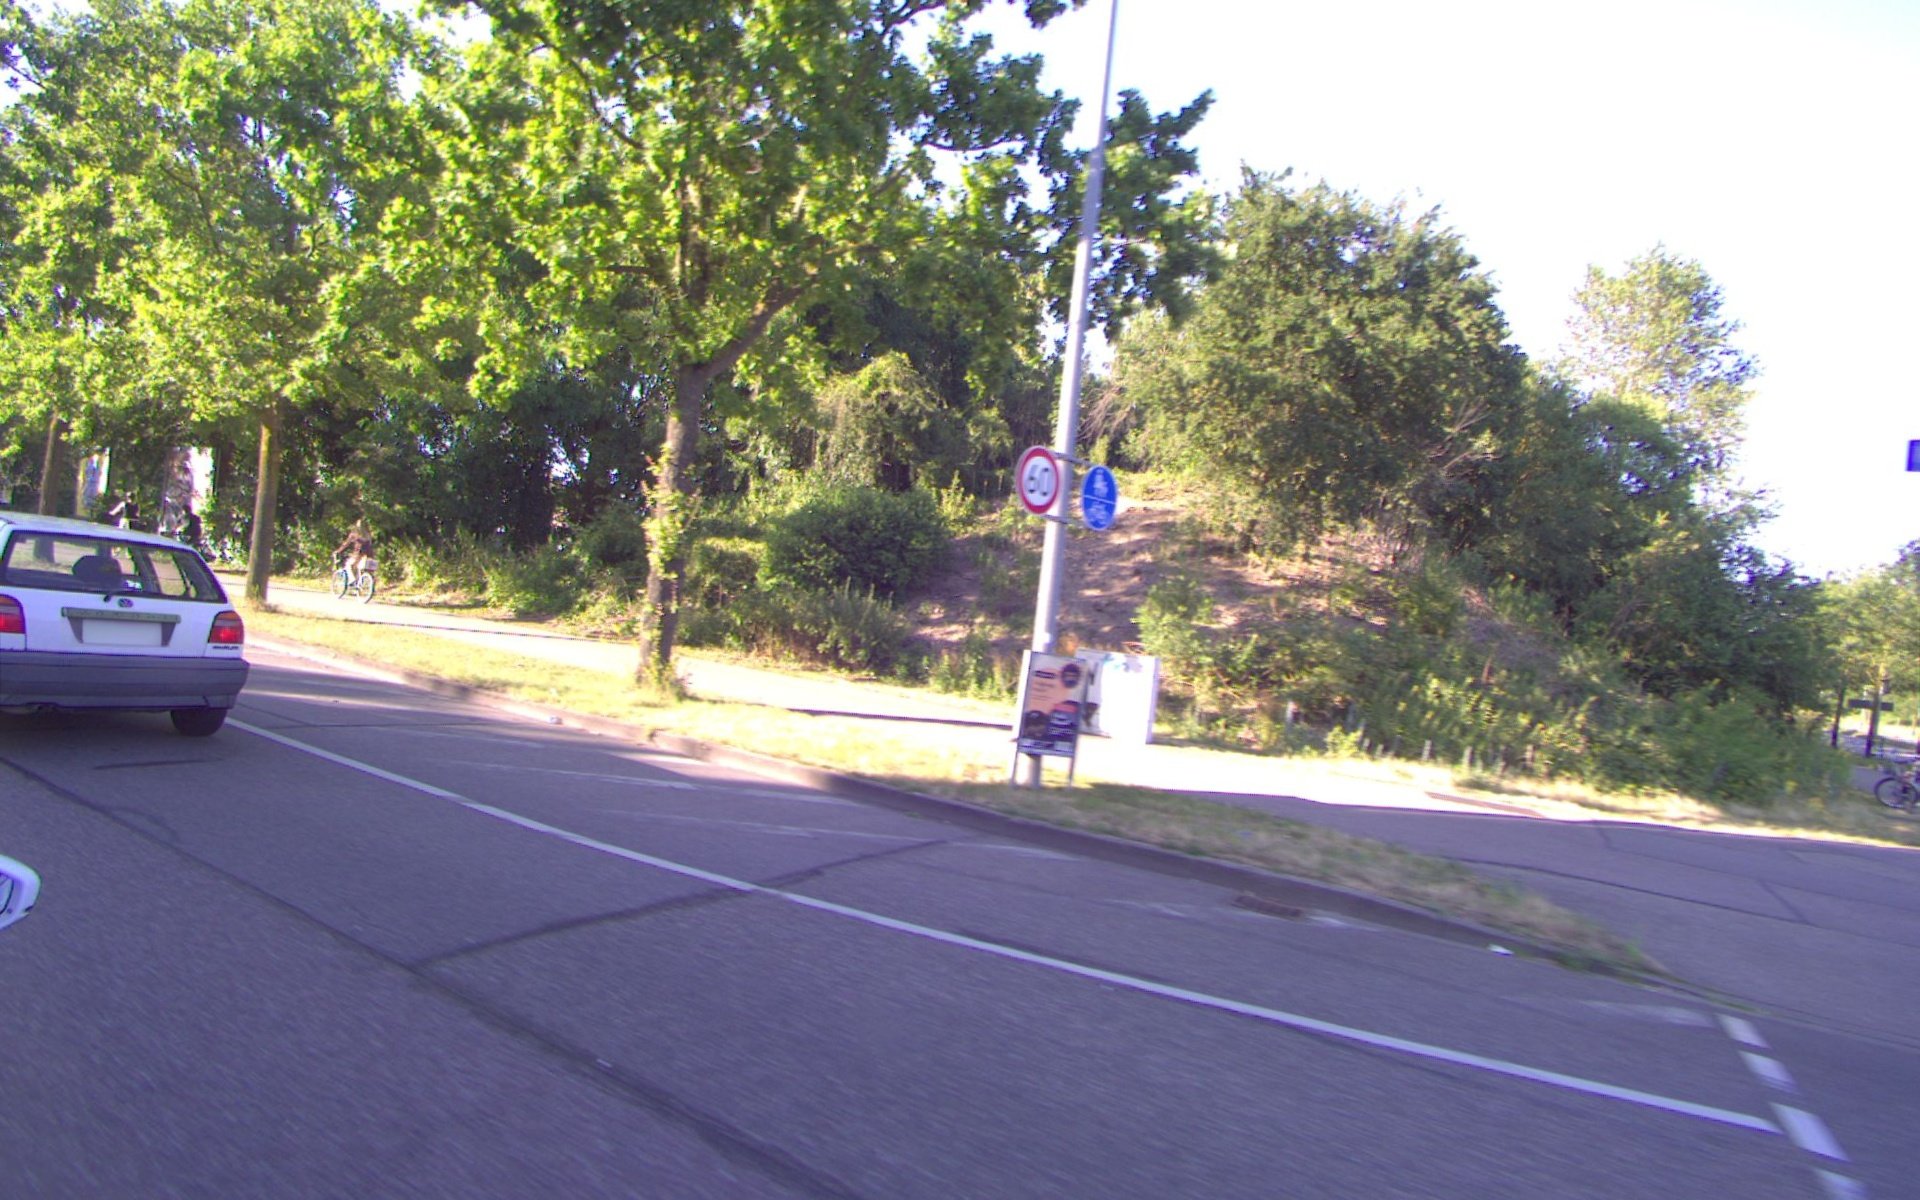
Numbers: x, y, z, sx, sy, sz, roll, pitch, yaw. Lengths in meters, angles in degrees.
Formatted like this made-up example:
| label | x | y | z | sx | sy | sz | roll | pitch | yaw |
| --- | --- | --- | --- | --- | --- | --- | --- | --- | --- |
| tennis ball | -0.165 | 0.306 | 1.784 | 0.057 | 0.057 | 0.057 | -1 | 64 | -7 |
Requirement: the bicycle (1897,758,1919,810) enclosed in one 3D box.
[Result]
| label | x | y | z | sx | sy | sz | roll | pitch | yaw |
| --- | --- | --- | --- | --- | --- | --- | --- | --- | --- |
| bicycle | 19.762 | 3.795 | 20.649 | 1.788 | 0.992 | 0.631 | 9 | -1 | -45 |

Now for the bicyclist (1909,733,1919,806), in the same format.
| label | x | y | z | sx | sy | sz | roll | pitch | yaw |
| --- | --- | --- | --- | --- | --- | --- | --- | --- | --- |
| bicyclist | 21.792 | 3.809 | 22.331 | 0.780 | 1.613 | 0.859 | 6 | -2 | 31 |

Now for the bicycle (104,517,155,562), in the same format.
| label | x | y | z | sx | sy | sz | roll | pitch | yaw |
| --- | --- | --- | --- | --- | --- | --- | --- | --- | --- |
| bicycle | -23.943 | -1.750 | 29.002 | 1.595 | 1.125 | 0.565 | 5 | -2 | 32 |

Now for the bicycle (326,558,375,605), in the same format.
| label | x | y | z | sx | sy | sz | roll | pitch | yaw |
| --- | --- | --- | --- | --- | --- | --- | --- | --- | --- |
| bicycle | -13.194 | -0.399 | 21.775 | 1.010 | 0.926 | 0.437 | 5 | 1 | 32 |

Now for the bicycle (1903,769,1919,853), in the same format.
| label | x | y | z | sx | sy | sz | roll | pitch | yaw |
| --- | --- | --- | --- | --- | --- | --- | --- | --- | --- |
| bicycle | 12.593 | 2.712 | 12.843 | 1.656 | 1.004 | 0.571 | 7 | 3 | -42 |

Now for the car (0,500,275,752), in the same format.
| label | x | y | z | sx | sy | sz | roll | pitch | yaw |
| --- | --- | --- | --- | --- | --- | --- | --- | --- | --- |
| car | -6.895 | 0.055 | 7.255 | 3.994 | 1.429 | 1.582 | 5 | -2 | 31 |

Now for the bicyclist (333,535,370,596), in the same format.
| label | x | y | z | sx | sy | sz | roll | pitch | yaw |
| --- | --- | --- | --- | --- | --- | --- | --- | --- | --- |
| bicyclist | -13.166 | -0.743 | 21.780 | 0.452 | 1.248 | 0.428 | 6 | 0 | 32 |

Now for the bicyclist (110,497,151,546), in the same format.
| label | x | y | z | sx | sy | sz | roll | pitch | yaw |
| --- | --- | --- | --- | --- | --- | --- | --- | --- | --- |
| bicyclist | -23.935 | -2.265 | 29.026 | 0.821 | 1.331 | 0.544 | 6 | -2 | 31 |

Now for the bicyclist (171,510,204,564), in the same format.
| label | x | y | z | sx | sy | sz | roll | pitch | yaw |
| --- | --- | --- | --- | --- | --- | --- | --- | --- | --- |
| bicyclist | -20.306 | -1.655 | 26.436 | 0.452 | 1.324 | 0.428 | 6 | -2 | 32 |

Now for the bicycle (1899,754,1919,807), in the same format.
| label | x | y | z | sx | sy | sz | roll | pitch | yaw |
| --- | --- | --- | --- | --- | --- | --- | --- | --- | --- |
| bicycle | 21.796 | 4.087 | 22.400 | 0.808 | 1.125 | 2.017 | 6 | -3 | 31 |

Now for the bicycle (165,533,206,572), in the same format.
| label | x | y | z | sx | sy | sz | roll | pitch | yaw |
| --- | --- | --- | --- | --- | --- | --- | --- | --- | --- |
| bicycle | -20.337 | -1.248 | 26.409 | 1.010 | 0.925 | 0.438 | 5 | -2 | 32 |
